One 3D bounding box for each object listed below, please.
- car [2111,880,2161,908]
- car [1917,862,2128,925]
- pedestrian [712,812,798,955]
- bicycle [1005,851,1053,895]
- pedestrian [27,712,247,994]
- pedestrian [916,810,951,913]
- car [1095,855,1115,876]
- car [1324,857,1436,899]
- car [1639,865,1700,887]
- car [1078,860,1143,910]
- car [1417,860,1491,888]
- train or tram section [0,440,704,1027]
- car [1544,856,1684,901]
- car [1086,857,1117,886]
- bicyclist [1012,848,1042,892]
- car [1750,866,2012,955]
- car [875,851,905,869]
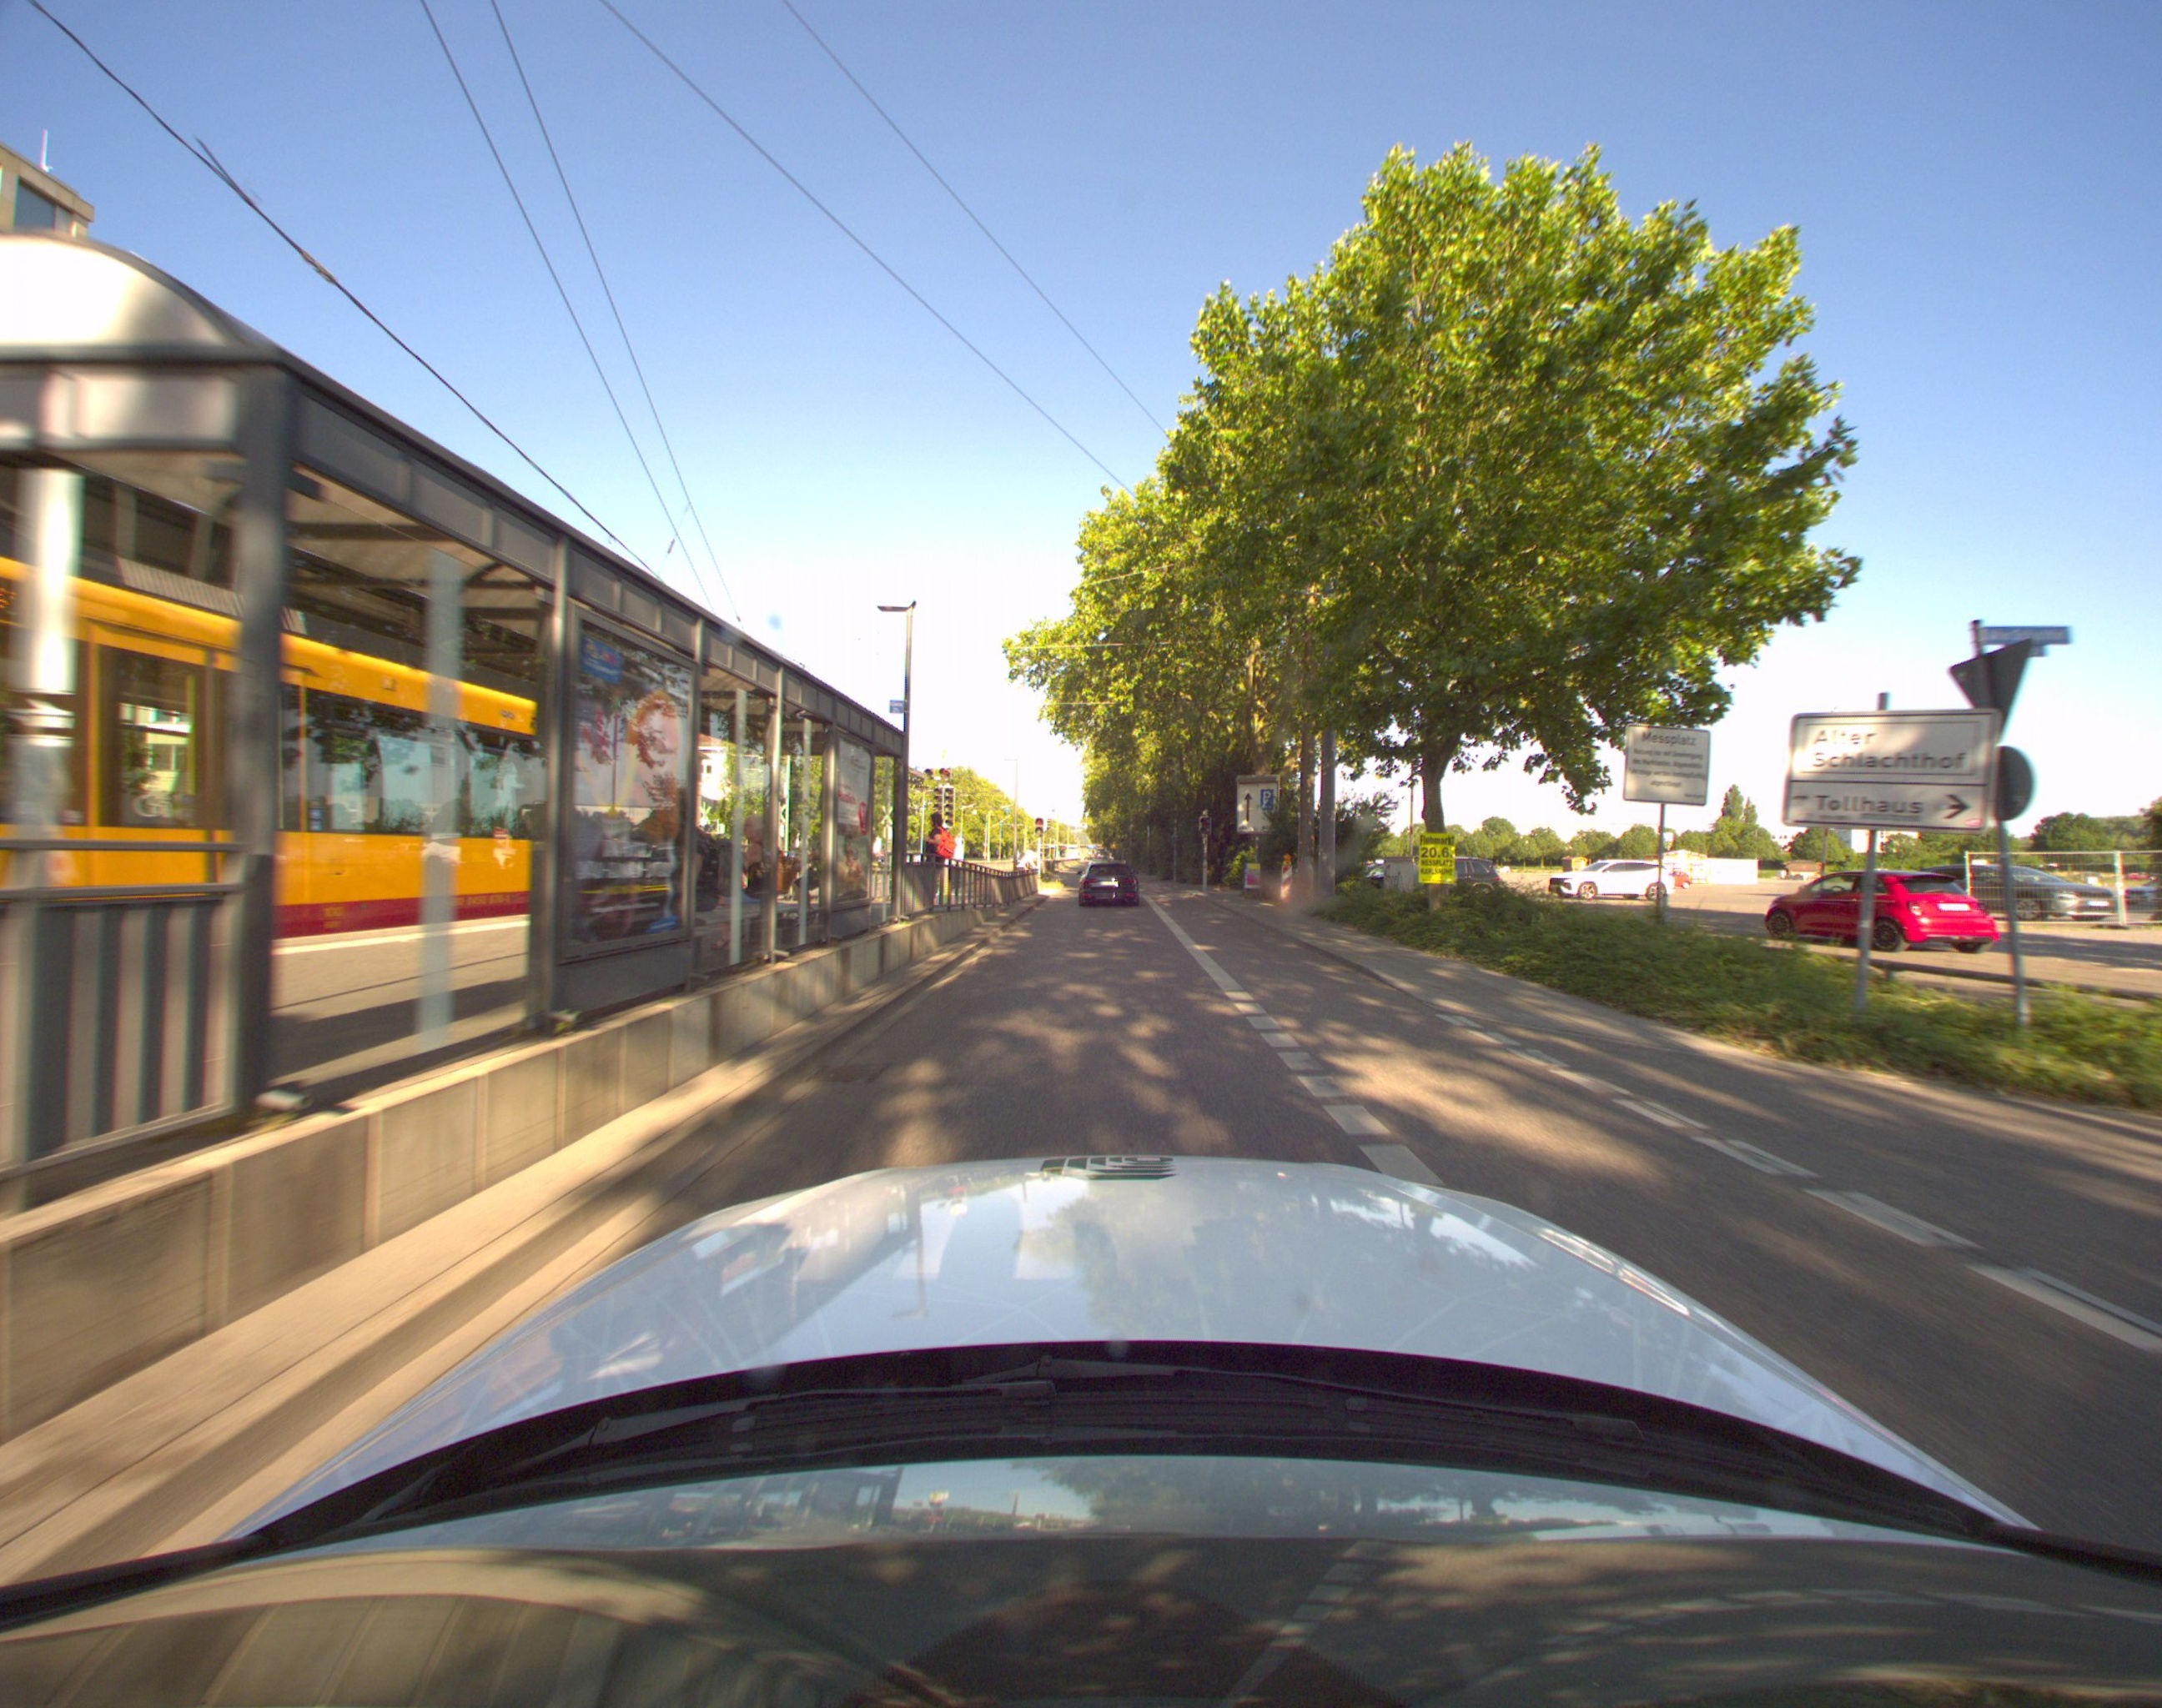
[{"bbox_3d":[61.589,2.302,46.228,4.238,1.525,1.726,1,0,-3],"label":"car"},{"bbox_3d":[27.080,1.072,23.656,1.560,1.609,4.000,1,0,1],"label":"car"},{"bbox_3d":[-3.071,0.273,7.710,0.565,1.293,0.501,2,-1,1],"label":"pedestrian"},{"bbox_3d":[-2.079,0.750,32.863,1.984,1.717,0.584,2,-1,-44],"label":"bicycle"},{"bbox_3d":[-6.098,-0.005,5.296,0.655,1.713,0.613,1,-1,1],"label":"pedestrian"},{"bbox_3d":[-2.519,0.129,13.944,0.410,1.717,0.666,1,-1,1],"label":"pedestrian"},{"bbox_3d":[2.487,1.160,83.985,1.986,2.013,4.001,1,0,1],"label":"car"},{"bbox_3d":[11.115,0.880,30.394,3.580,1.462,1.679,1,0,2],"label":"car"},{"bbox_3d":[46.952,1.759,65.014,3.804,1.601,1.649,1,0,-2],"label":"car"},{"bbox_3d":[0.871,0.938,26.052,1.873,1.457,3.355,-1,0,-1],"label":"car"},{"bbox_3d":[22.949,1.205,50.137,3.798,1.609,1.670,1,0,1],"label":"car"},{"bbox_3d":[-8.645,-0.799,8.839,3.297,3.829,11.845,1,0,1],"label":"train or tram section"},{"bbox_3d":[21.726,0.973,33.369,4.437,1.658,1.920,1,0,5],"label":"car"},{"bbox_3d":[1.215,1.038,49.745,1.757,1.619,3.998,1,0,-1],"label":"car"},{"bbox_3d":[-2.171,0.645,32.754,0.914,1.717,0.761,2,-1,-43],"label":"bicyclist"},{"bbox_3d":[15.745,1.029,16.343,1.608,1.515,3.804,1,0,1],"label":"car"},{"bbox_3d":[-17.814,0.559,76.200,1.733,1.547,4.000,2,-1,1],"label":"car"}]
